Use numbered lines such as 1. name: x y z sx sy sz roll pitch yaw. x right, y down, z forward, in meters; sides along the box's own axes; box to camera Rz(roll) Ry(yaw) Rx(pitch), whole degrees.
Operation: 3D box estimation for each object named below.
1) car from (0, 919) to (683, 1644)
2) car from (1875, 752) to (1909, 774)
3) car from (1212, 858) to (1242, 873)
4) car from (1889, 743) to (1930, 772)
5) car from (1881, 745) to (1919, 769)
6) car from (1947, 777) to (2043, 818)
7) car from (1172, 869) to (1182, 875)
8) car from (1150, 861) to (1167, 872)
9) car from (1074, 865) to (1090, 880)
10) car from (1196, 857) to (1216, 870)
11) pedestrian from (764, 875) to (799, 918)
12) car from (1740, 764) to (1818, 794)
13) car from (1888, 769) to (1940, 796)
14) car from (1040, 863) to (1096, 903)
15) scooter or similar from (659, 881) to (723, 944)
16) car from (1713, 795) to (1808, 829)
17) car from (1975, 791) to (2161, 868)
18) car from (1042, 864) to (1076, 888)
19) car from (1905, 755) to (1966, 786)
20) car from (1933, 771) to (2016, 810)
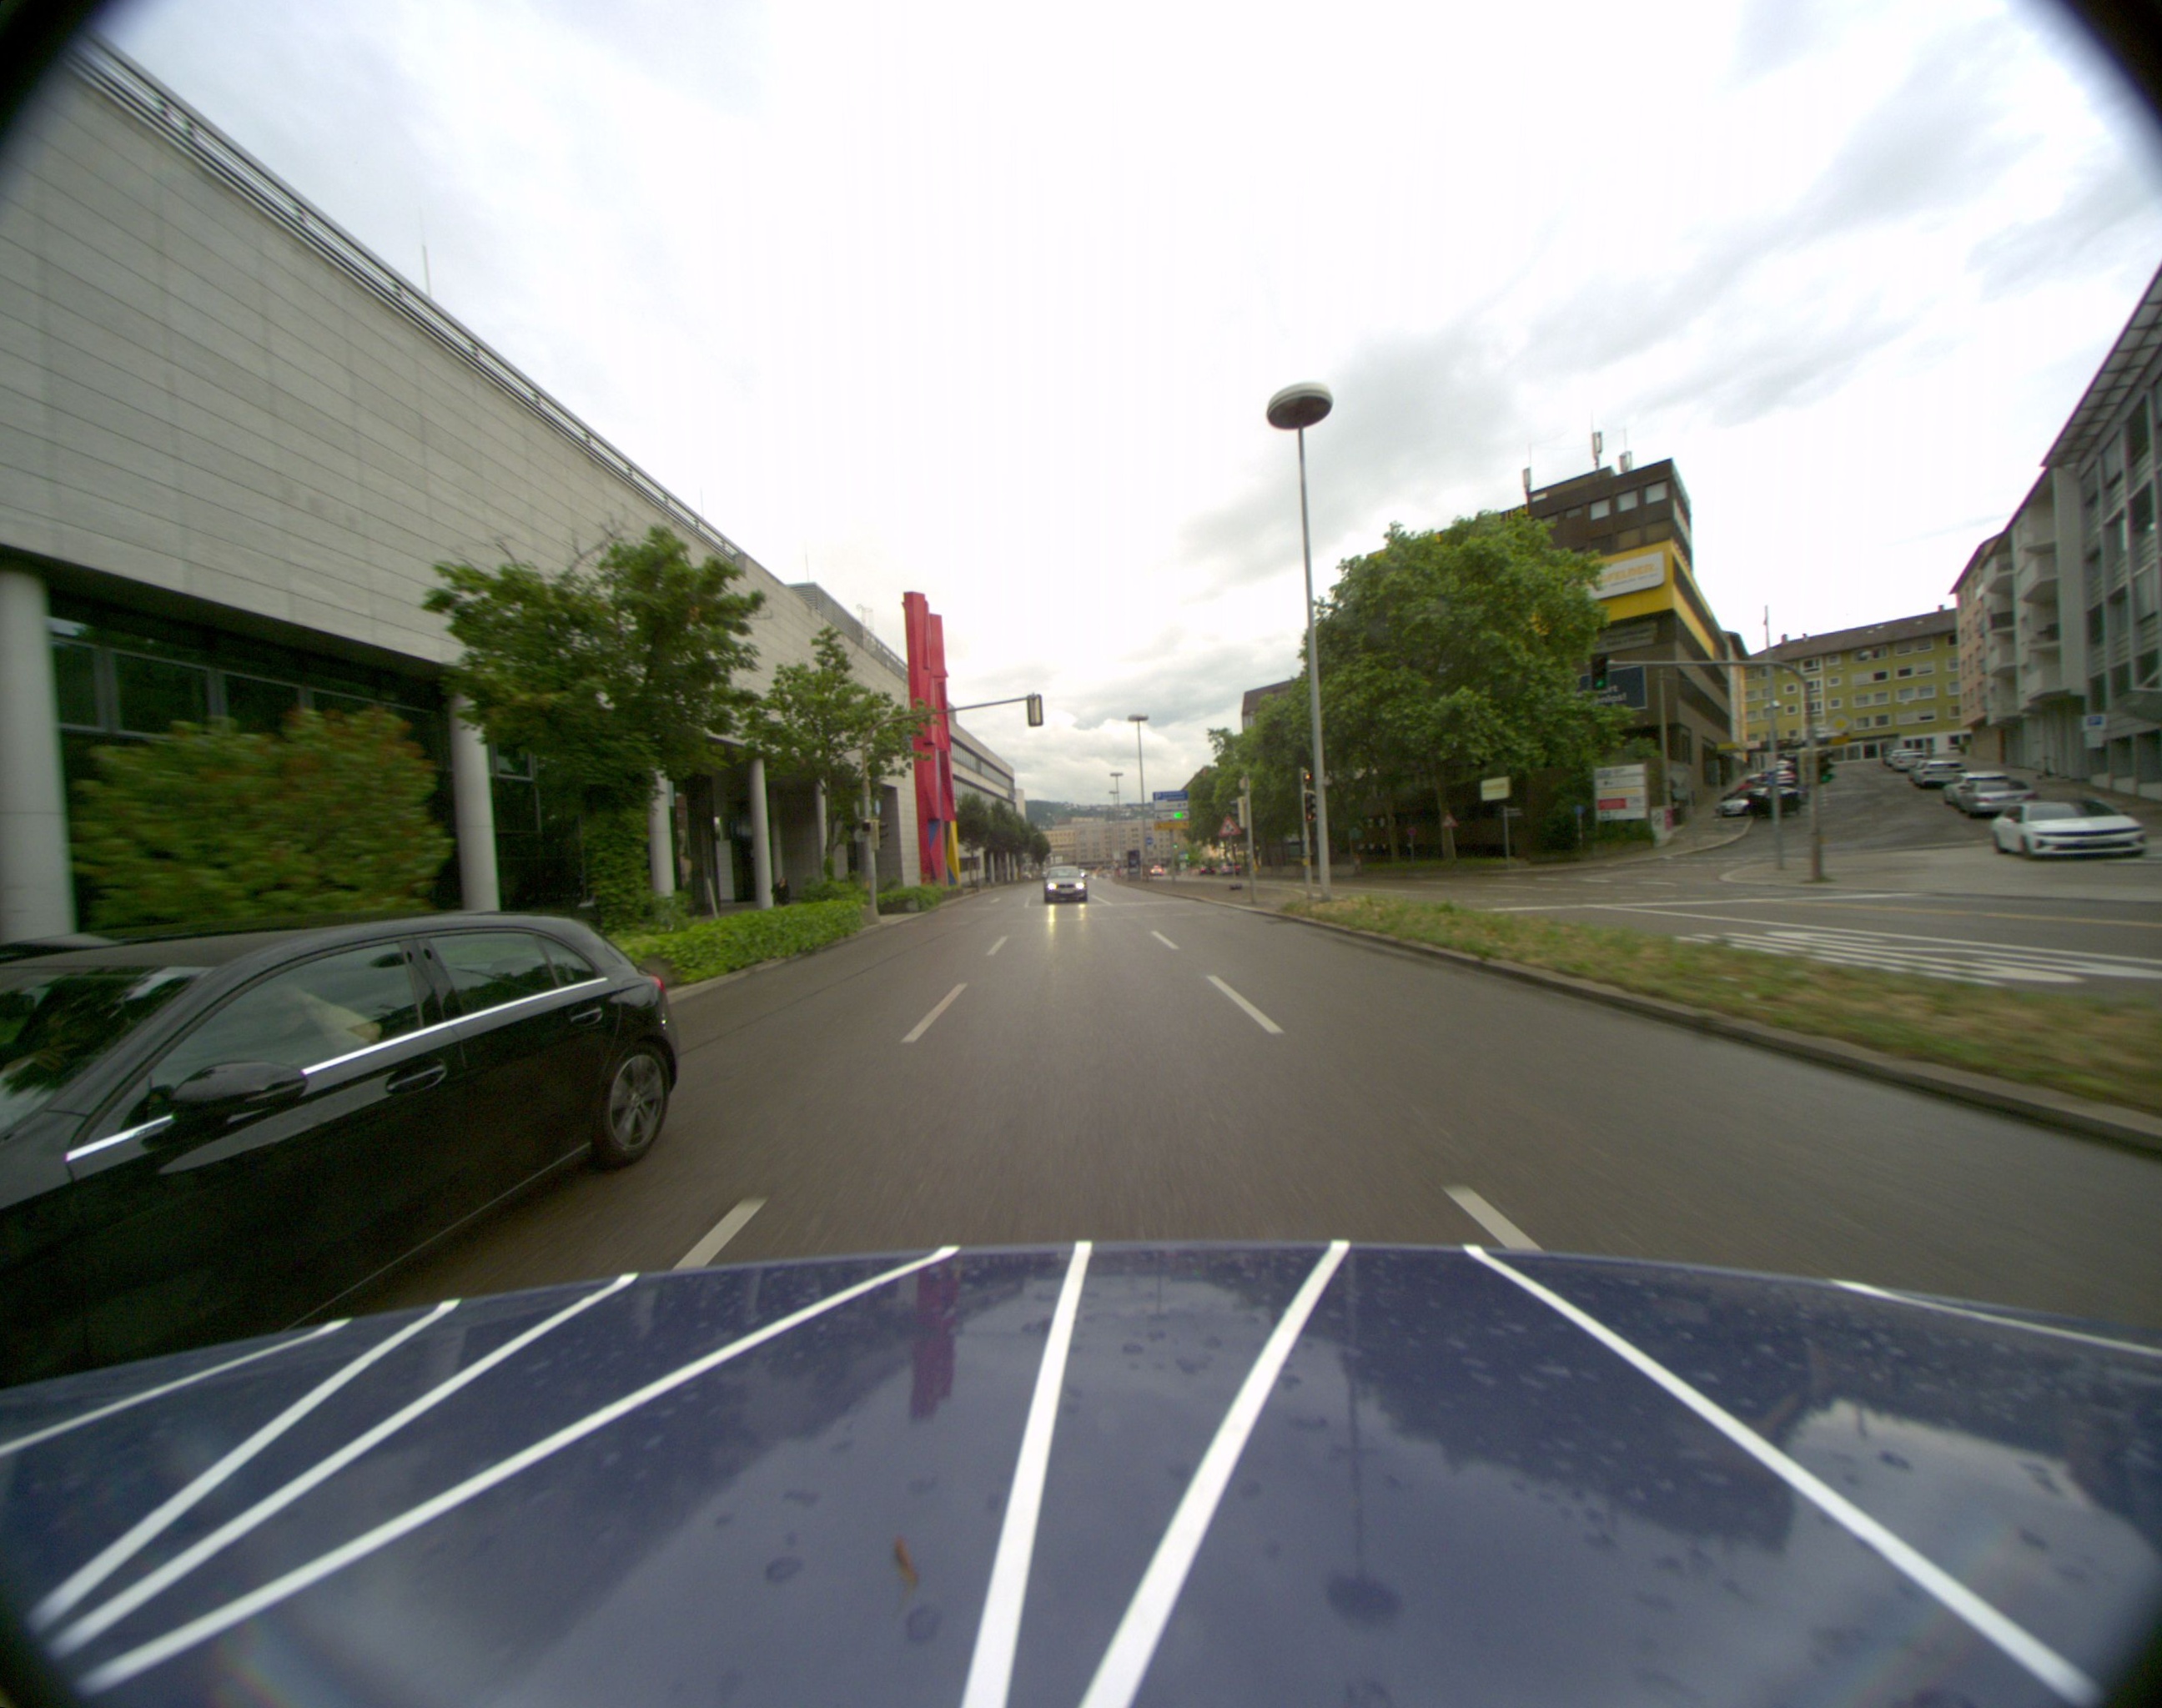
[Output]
1. car: -3.335 1.085 2.327 1.877 1.428 4.206 -3 -1 2
2. car: 76.064 -8.563 71.268 1.995 1.806 4.005 -2 4 45
3. car: 15.824 1.251 82.460 1.999 1.438 4.880 -2 -1 -4
4. car: 66.374 -7.776 60.907 1.995 2.003 4.005 -2 4 45
5. car: 70.380 -8.336 65.360 1.995 1.806 4.005 -2 4 45
6. car: 38.797 -2.433 32.365 1.995 1.457 4.495 -5 1 43
7. car: 23.062 4.321 183.351 1.938 1.428 4.508 -2 -1 2
8. car: 11.275 1.875 110.286 1.759 1.509 3.740 -2 -1 -5
9. car: 0.201 2.680 109.163 1.998 2.001 4.002 -2 -1 4
10. car: 15.974 1.243 97.465 1.758 1.510 4.170 -2 -1 -1
11. pedestrian: -11.490 1.630 29.185 0.972 1.577 0.842 -2 0 -2
12. car: 49.349 -5.282 53.763 3.989 1.675 1.823 -3 4 45
13. car: 57.219 -4.906 52.252 1.995 1.566 4.495 -5 1 43
14. car: -0.465 1.137 31.357 1.862 1.428 4.206 -2 0 5
15. scooter or similar: -10.082 1.500 19.654 1.326 1.521 0.503 -4 0 4
16. car: 39.591 -2.412 44.304 3.989 1.674 1.824 -3 0 45
17. car: 25.609 -0.709 19.935 1.995 1.644 4.851 -5 1 41
18. car: -1.353 1.395 48.418 1.863 1.449 4.207 -1 -1 2
19. car: 52.288 -5.087 46.575 1.995 1.566 4.495 -5 1 43
20. car: 42.734 -3.067 36.455 1.995 1.566 4.495 -5 1 43
